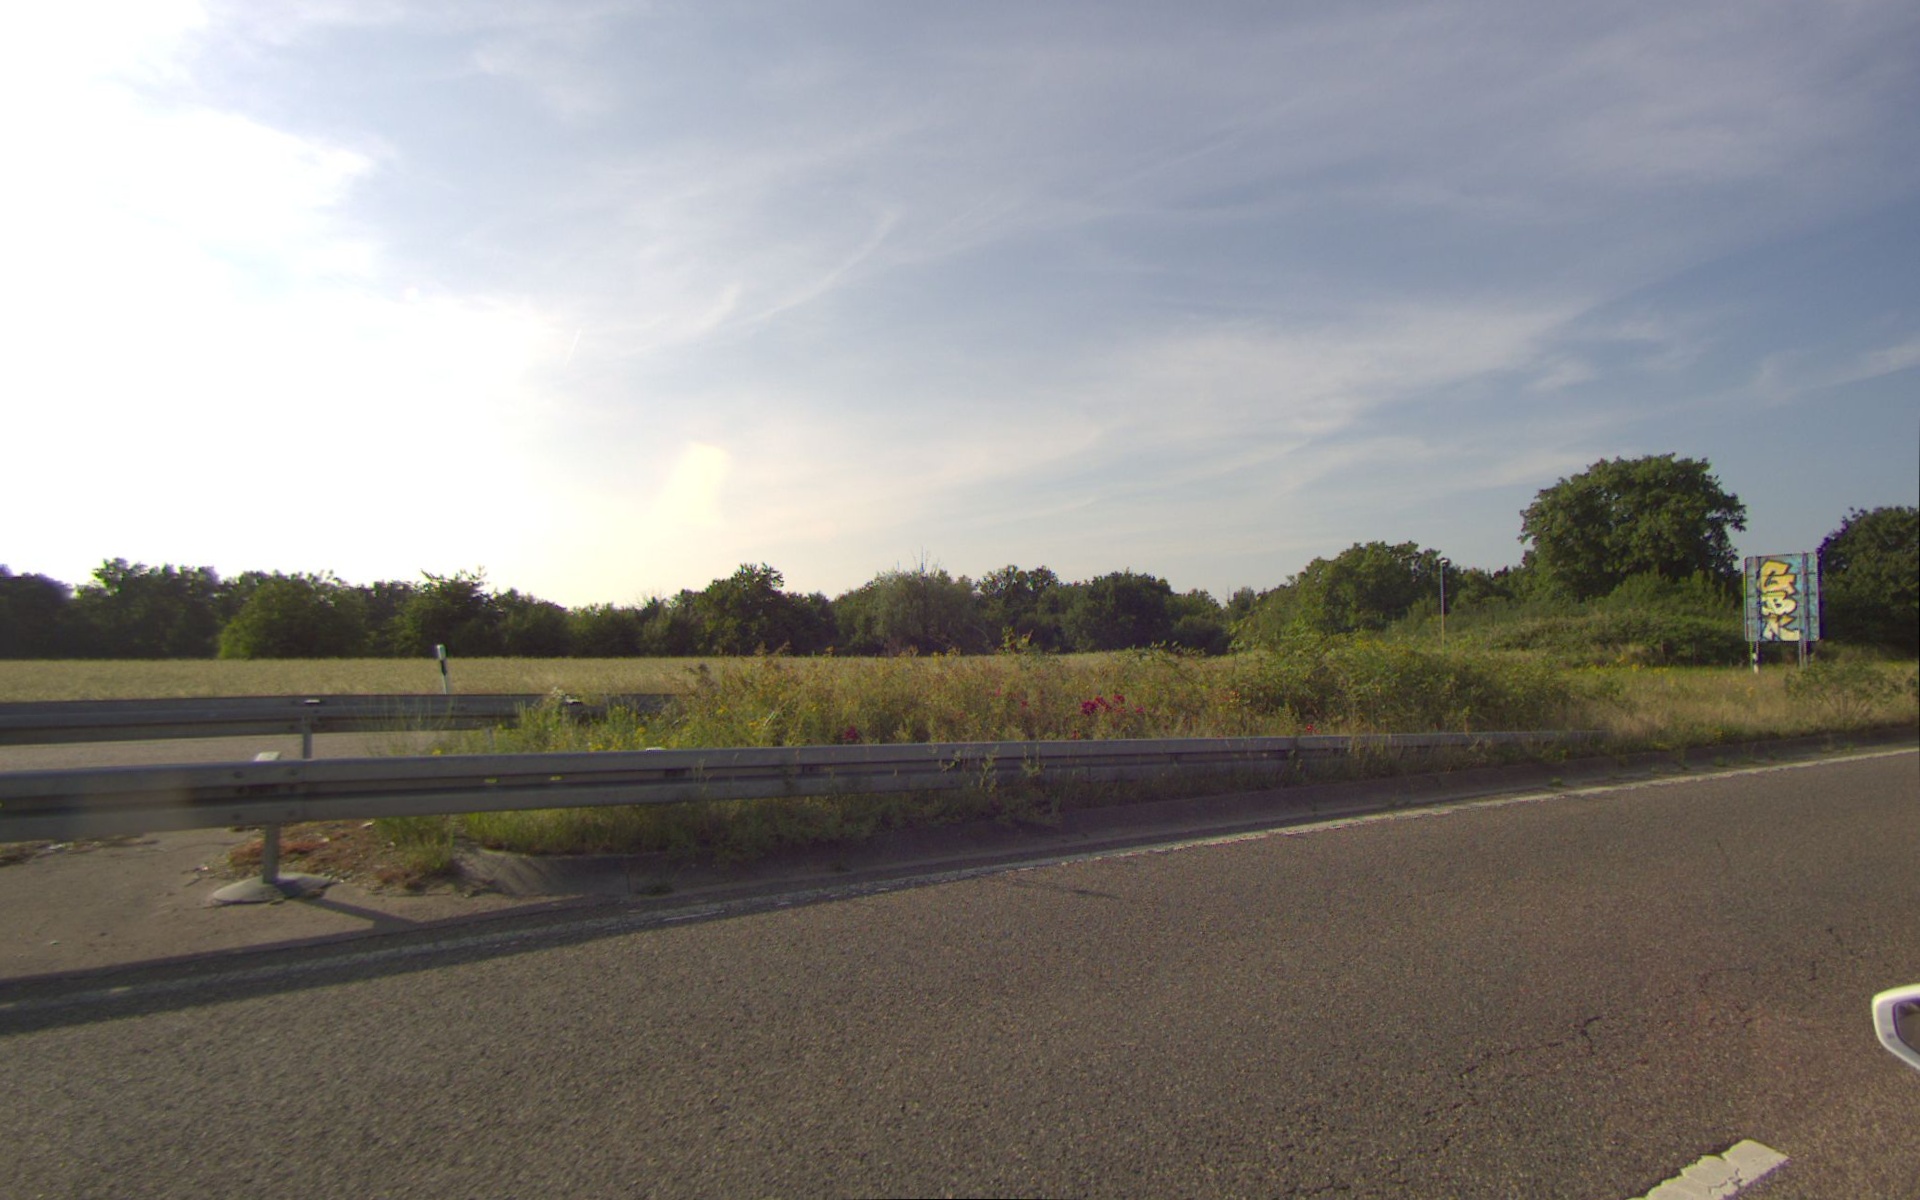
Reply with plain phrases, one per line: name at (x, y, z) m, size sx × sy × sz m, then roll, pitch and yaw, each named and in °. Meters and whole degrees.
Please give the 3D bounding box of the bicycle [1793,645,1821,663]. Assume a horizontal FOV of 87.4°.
bicycle at (43.811, 2.800, 51.972) m, size 1.683 × 0.890 × 0.528 m, roll 1°, pitch -2°, yaw -28°

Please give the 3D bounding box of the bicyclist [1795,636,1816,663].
bicyclist at (43.709, 2.543, 51.937) m, size 1.034 × 1.408 × 0.465 m, roll 1°, pitch -2°, yaw -28°
